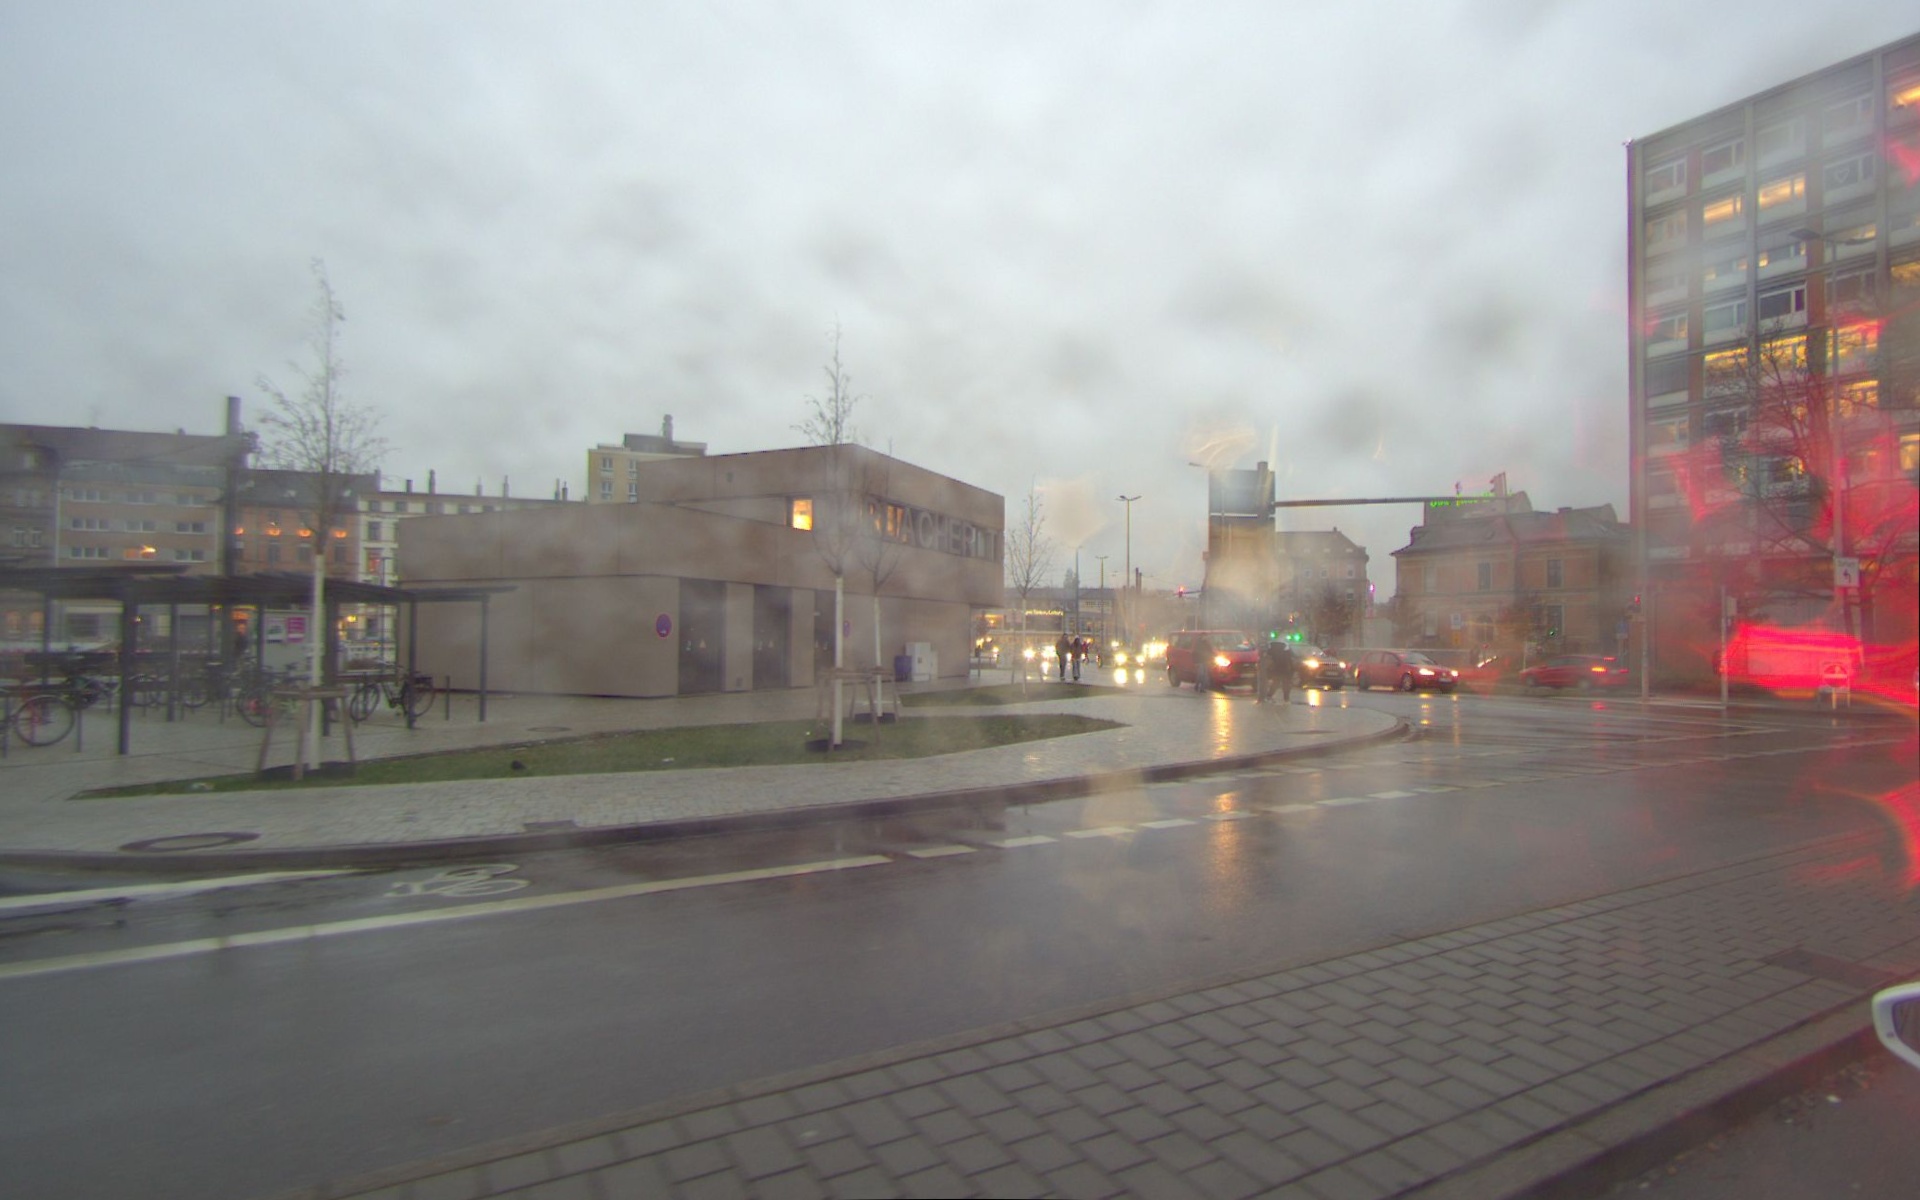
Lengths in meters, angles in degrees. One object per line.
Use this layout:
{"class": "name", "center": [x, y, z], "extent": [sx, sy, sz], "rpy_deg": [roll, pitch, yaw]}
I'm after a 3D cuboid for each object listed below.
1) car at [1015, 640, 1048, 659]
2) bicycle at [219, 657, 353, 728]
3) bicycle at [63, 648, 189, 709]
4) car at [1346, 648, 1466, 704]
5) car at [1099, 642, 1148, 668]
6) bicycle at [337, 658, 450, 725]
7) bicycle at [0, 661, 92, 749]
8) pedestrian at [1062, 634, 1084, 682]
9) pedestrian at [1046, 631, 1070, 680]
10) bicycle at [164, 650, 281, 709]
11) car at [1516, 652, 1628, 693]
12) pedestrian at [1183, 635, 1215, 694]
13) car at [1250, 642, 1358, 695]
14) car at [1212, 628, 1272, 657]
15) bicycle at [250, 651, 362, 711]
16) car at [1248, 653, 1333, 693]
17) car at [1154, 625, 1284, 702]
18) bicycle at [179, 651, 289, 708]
{"class": "car", "center": [6.013, 4.140, 84.524], "extent": [1.578, 1.468, 3.637], "rpy_deg": [3, -2, -16]}
{"class": "bicycle", "center": [-12.048, 1.626, 18.025], "extent": [0.540, 1.180, 1.895], "rpy_deg": [2, -2, 30]}
{"class": "bicycle", "center": [-17.278, 1.615, 20.868], "extent": [0.540, 1.180, 1.895], "rpy_deg": [2, -2, 30]}
{"class": "car", "center": [16.033, 2.710, 36.321], "extent": [1.731, 1.706, 4.069], "rpy_deg": [3, -1, -16]}
{"class": "car", "center": [10.481, 3.494, 64.541], "extent": [1.579, 1.466, 3.636], "rpy_deg": [3, -2, -17]}
{"class": "bicycle", "center": [-10.809, 1.718, 19.244], "extent": [0.540, 1.180, 1.898], "rpy_deg": [2, -2, 24]}
{"class": "bicycle", "center": [-13.397, 1.453, 13.955], "extent": [0.540, 1.180, 1.895], "rpy_deg": [2, -2, 30]}
{"class": "pedestrian", "center": [4.383, 2.246, 38.892], "extent": [0.576, 1.795, 0.610], "rpy_deg": [3, -1, -16]}
{"class": "pedestrian", "center": [3.782, 2.145, 38.780], "extent": [0.670, 1.839, 0.692], "rpy_deg": [3, -1, -16]}
{"class": "bicycle", "center": [-15.640, 1.664, 21.356], "extent": [0.540, 1.180, 1.895], "rpy_deg": [2, -2, 30]}
{"class": "car", "center": [24.630, 2.894, 40.567], "extent": [1.540, 1.416, 3.788], "rpy_deg": [3, -2, -17]}
{"class": "pedestrian", "center": [7.168, 1.923, 30.160], "extent": [0.781, 1.719, 0.461], "rpy_deg": [3, -1, -7]}
{"class": "car", "center": [12.790, 2.515, 37.623], "extent": [1.732, 1.706, 4.063], "rpy_deg": [3, -2, -18]}
{"class": "car", "center": [20.631, 3.082, 73.665], "extent": [1.966, 1.938, 5.157], "rpy_deg": [1, -1, -14]}
{"class": "bicycle", "center": [-13.808, 1.684, 21.260], "extent": [0.540, 1.180, 1.895], "rpy_deg": [2, -2, 30]}
{"class": "car", "center": [14.315, 3.123, 43.666], "extent": [1.578, 1.468, 3.827], "rpy_deg": [3, -2, -16]}
{"class": "car", "center": [8.800, 2.111, 34.664], "extent": [2.220, 2.311, 5.025], "rpy_deg": [3, -1, -13]}
{"class": "bicycle", "center": [-16.248, 1.762, 22.538], "extent": [0.540, 1.180, 1.895], "rpy_deg": [2, -2, 30]}
